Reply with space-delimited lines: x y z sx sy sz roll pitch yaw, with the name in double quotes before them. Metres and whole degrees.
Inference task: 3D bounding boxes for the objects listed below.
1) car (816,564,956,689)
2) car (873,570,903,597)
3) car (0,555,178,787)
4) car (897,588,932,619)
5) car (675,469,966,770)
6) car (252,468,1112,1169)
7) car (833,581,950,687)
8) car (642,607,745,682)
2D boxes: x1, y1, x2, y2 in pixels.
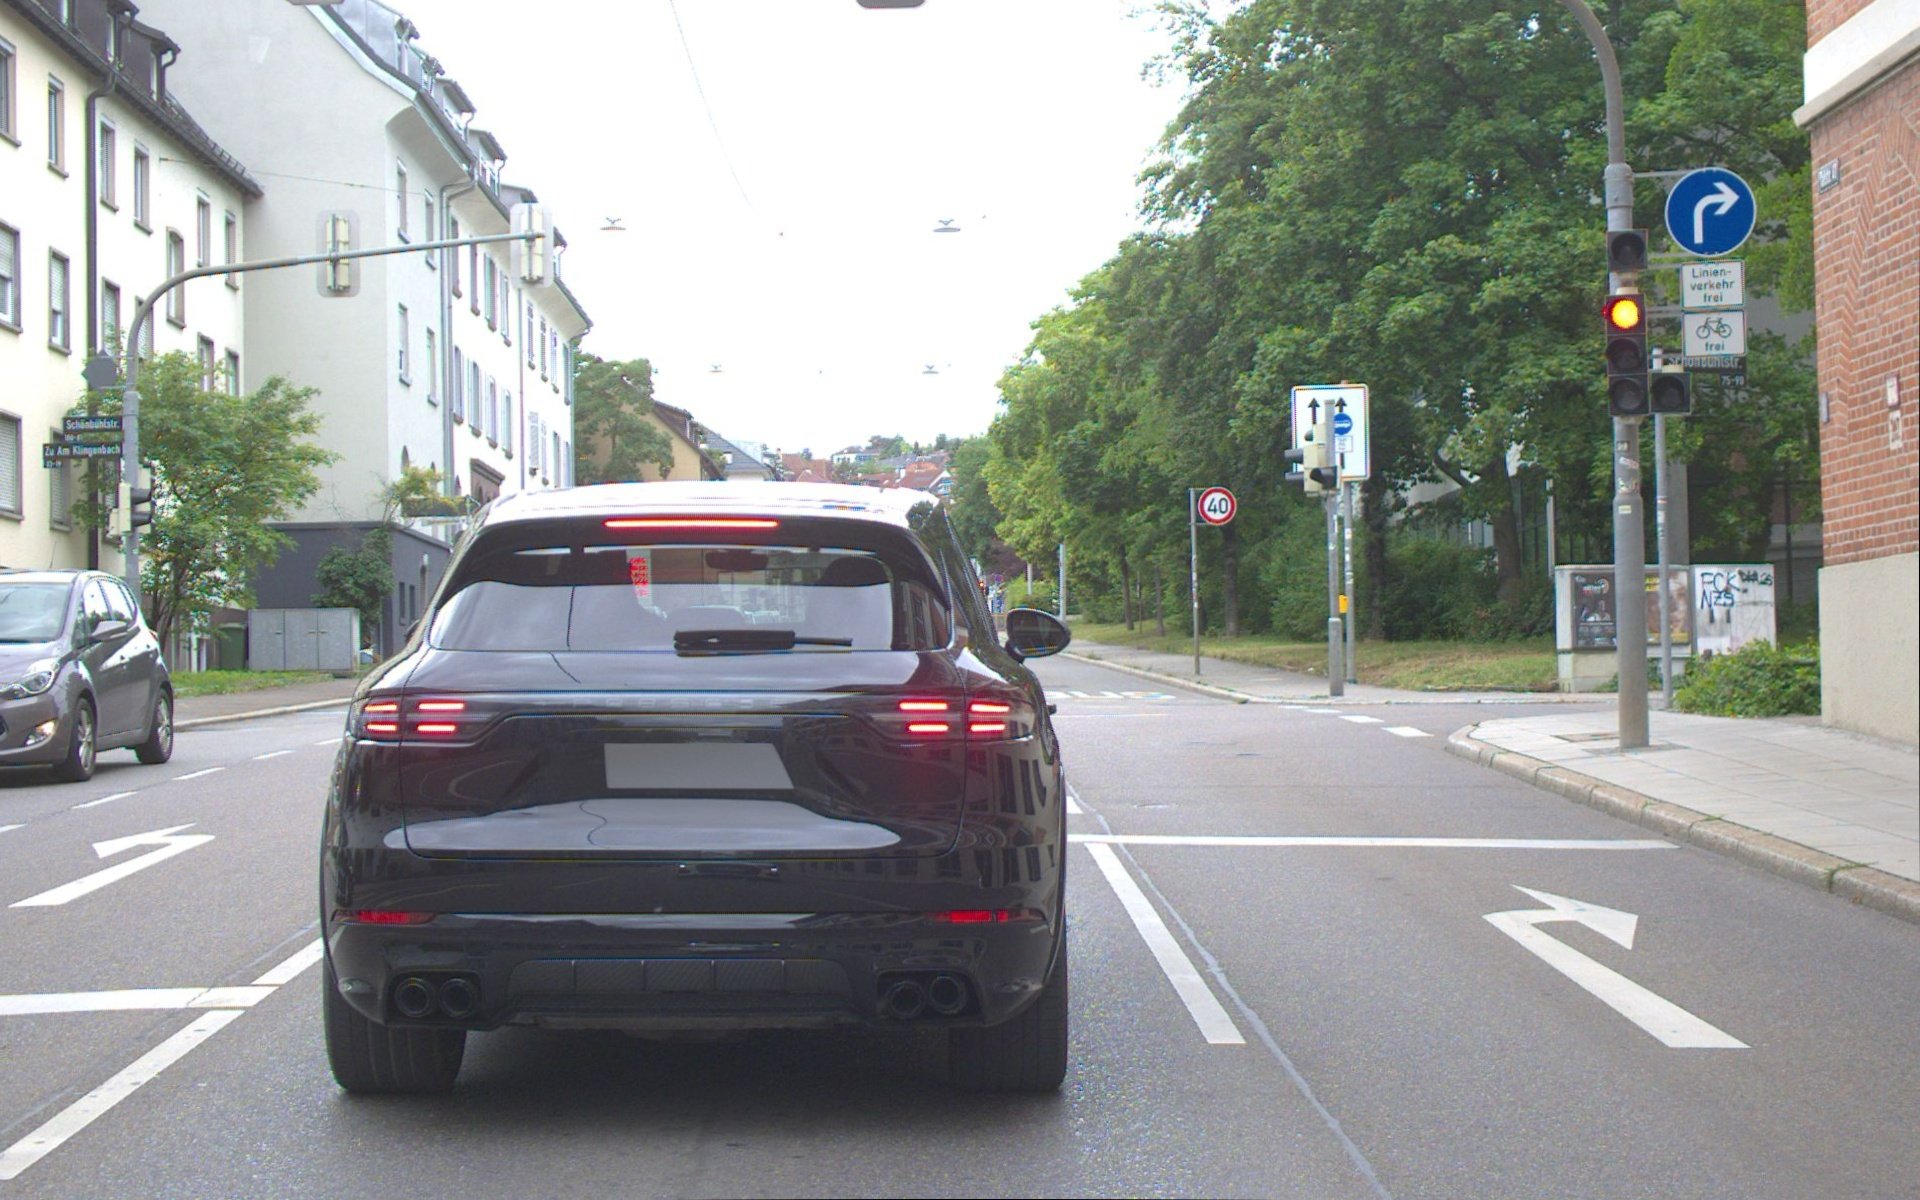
"car" -0.988 0.325 47.486 1.827 1.599 4.135 1 1 0
"car" -4.466 -1.035 213.932 1.827 1.599 4.135 1 1 0
"car" -7.245 0.511 26.131 1.703 1.581 3.937 -3 1 -1
"car" -2.455 0.188 186.146 1.827 1.599 4.135 1 1 0
"car" -0.964 0.092 25.560 1.965 2.035 4.135 1 1 0
"car" -0.681 0.485 10.383 2.048 1.660 4.267 1 1 0
"car" -1.091 0.529 56.204 1.827 1.599 3.859 1 1 0
"car" -5.627 0.926 72.956 1.785 1.414 4.670 -3 0 0
